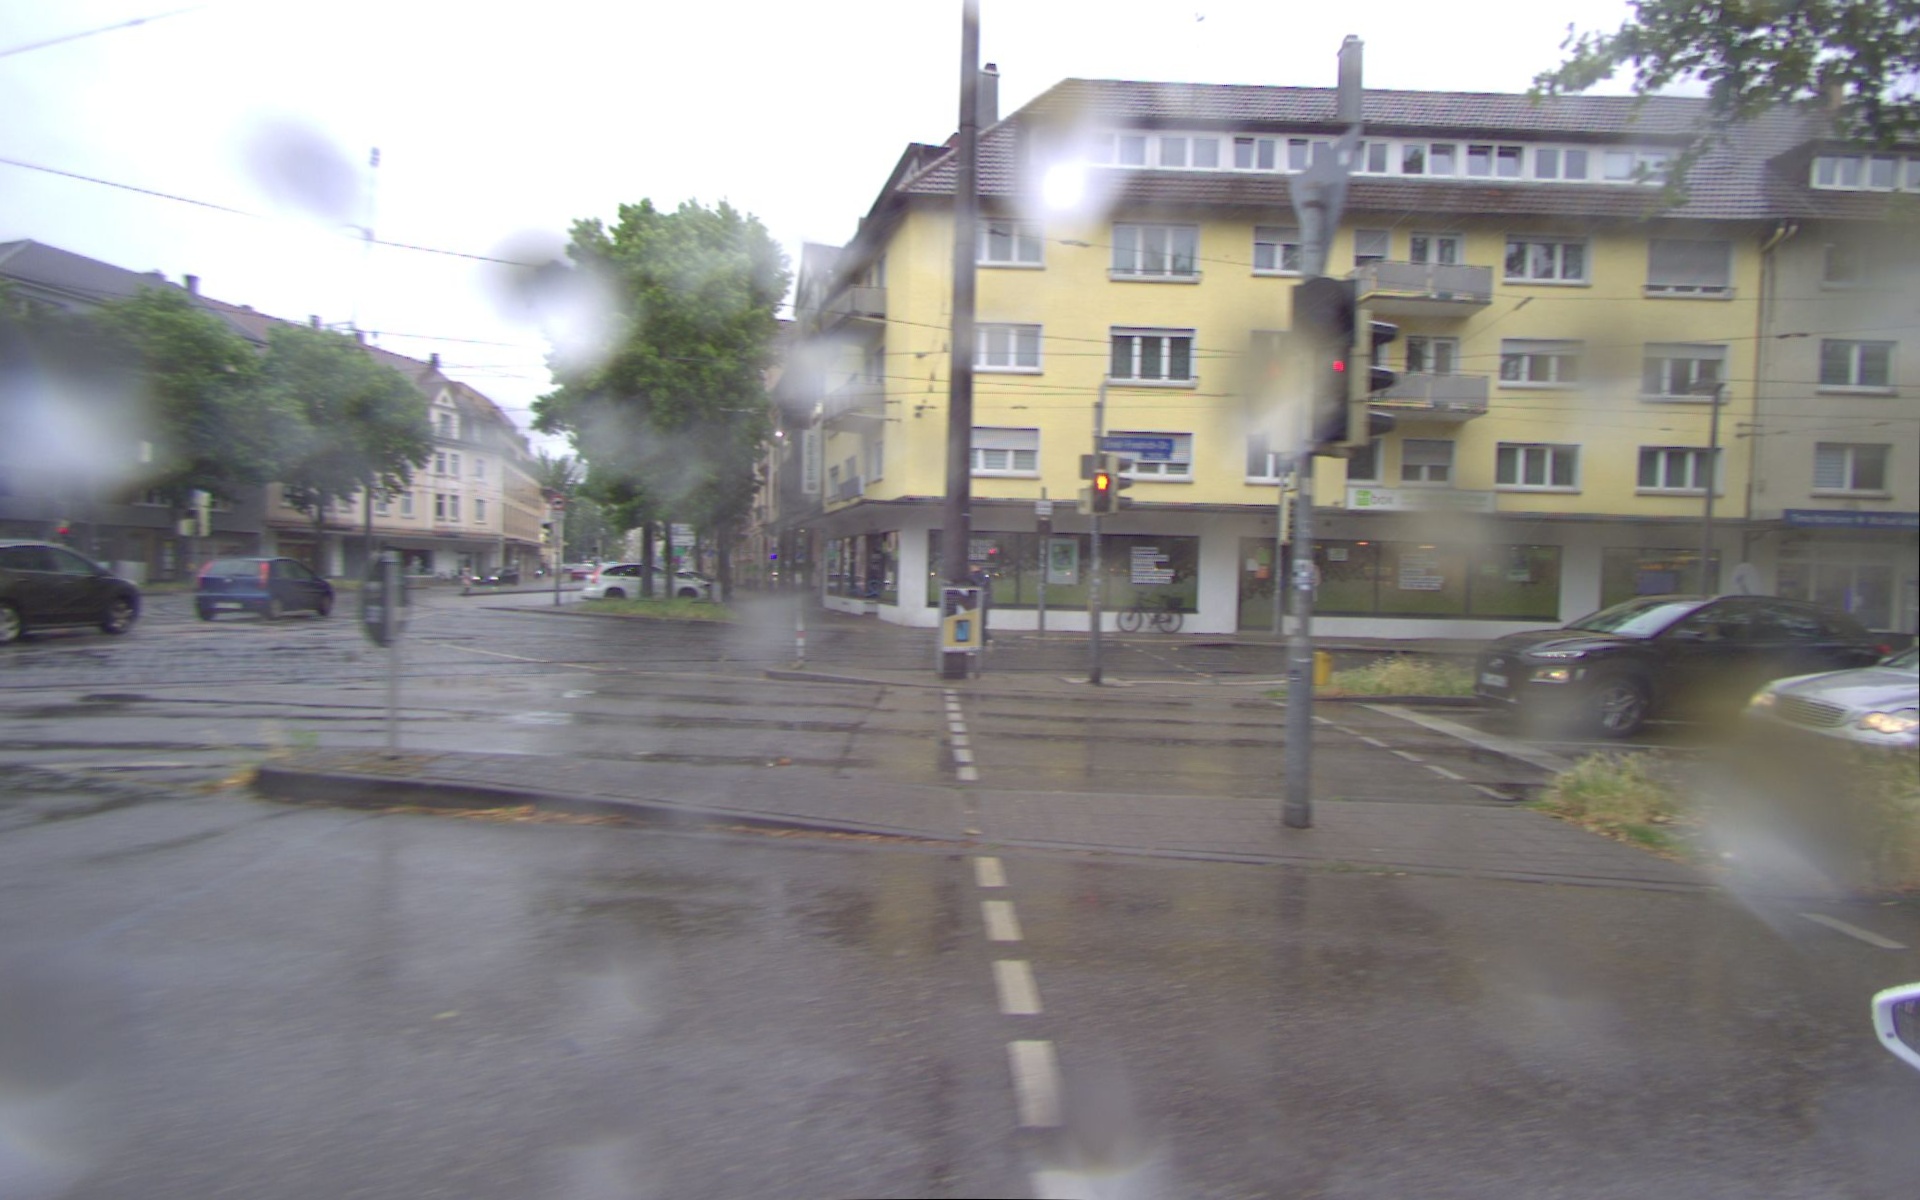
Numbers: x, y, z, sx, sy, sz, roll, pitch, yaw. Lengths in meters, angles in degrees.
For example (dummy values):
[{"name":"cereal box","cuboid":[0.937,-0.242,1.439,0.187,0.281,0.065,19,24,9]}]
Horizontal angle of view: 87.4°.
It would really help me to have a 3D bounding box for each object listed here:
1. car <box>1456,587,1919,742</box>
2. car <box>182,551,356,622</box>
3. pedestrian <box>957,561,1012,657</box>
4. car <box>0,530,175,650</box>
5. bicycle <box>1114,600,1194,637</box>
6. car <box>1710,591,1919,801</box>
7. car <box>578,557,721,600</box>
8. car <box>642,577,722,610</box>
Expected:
[{"name":"car","cuboid":[8.144,0.673,11.302,4.203,1.522,1.878,1,2,-6]},{"name":"car","cuboid":[-16.490,-0.259,24.218,1.854,1.478,3.827,2,-2,-7]},{"name":"pedestrian","cuboid":[0.460,0.147,18.618,0.798,1.700,1.017,2,1,12]},{"name":"car","cuboid":[-14.974,-0.227,16.083,1.773,1.732,4.186,3,1,-5]},{"name":"bicycle","cuboid":[5.221,0.487,27.089,2.006,0.909,0.614,2,1,0]},{"name":"car","cuboid":[9.078,0.746,8.344,4.413,1.509,1.739,1,2,-2]},{"name":"car","cuboid":[-11.524,-0.780,37.302,4.917,1.494,1.989,0,2,-23]},{"name":"car","cuboid":[-16.071,-0.369,58.148,1.972,1.634,3.977,3,0,44]}]
